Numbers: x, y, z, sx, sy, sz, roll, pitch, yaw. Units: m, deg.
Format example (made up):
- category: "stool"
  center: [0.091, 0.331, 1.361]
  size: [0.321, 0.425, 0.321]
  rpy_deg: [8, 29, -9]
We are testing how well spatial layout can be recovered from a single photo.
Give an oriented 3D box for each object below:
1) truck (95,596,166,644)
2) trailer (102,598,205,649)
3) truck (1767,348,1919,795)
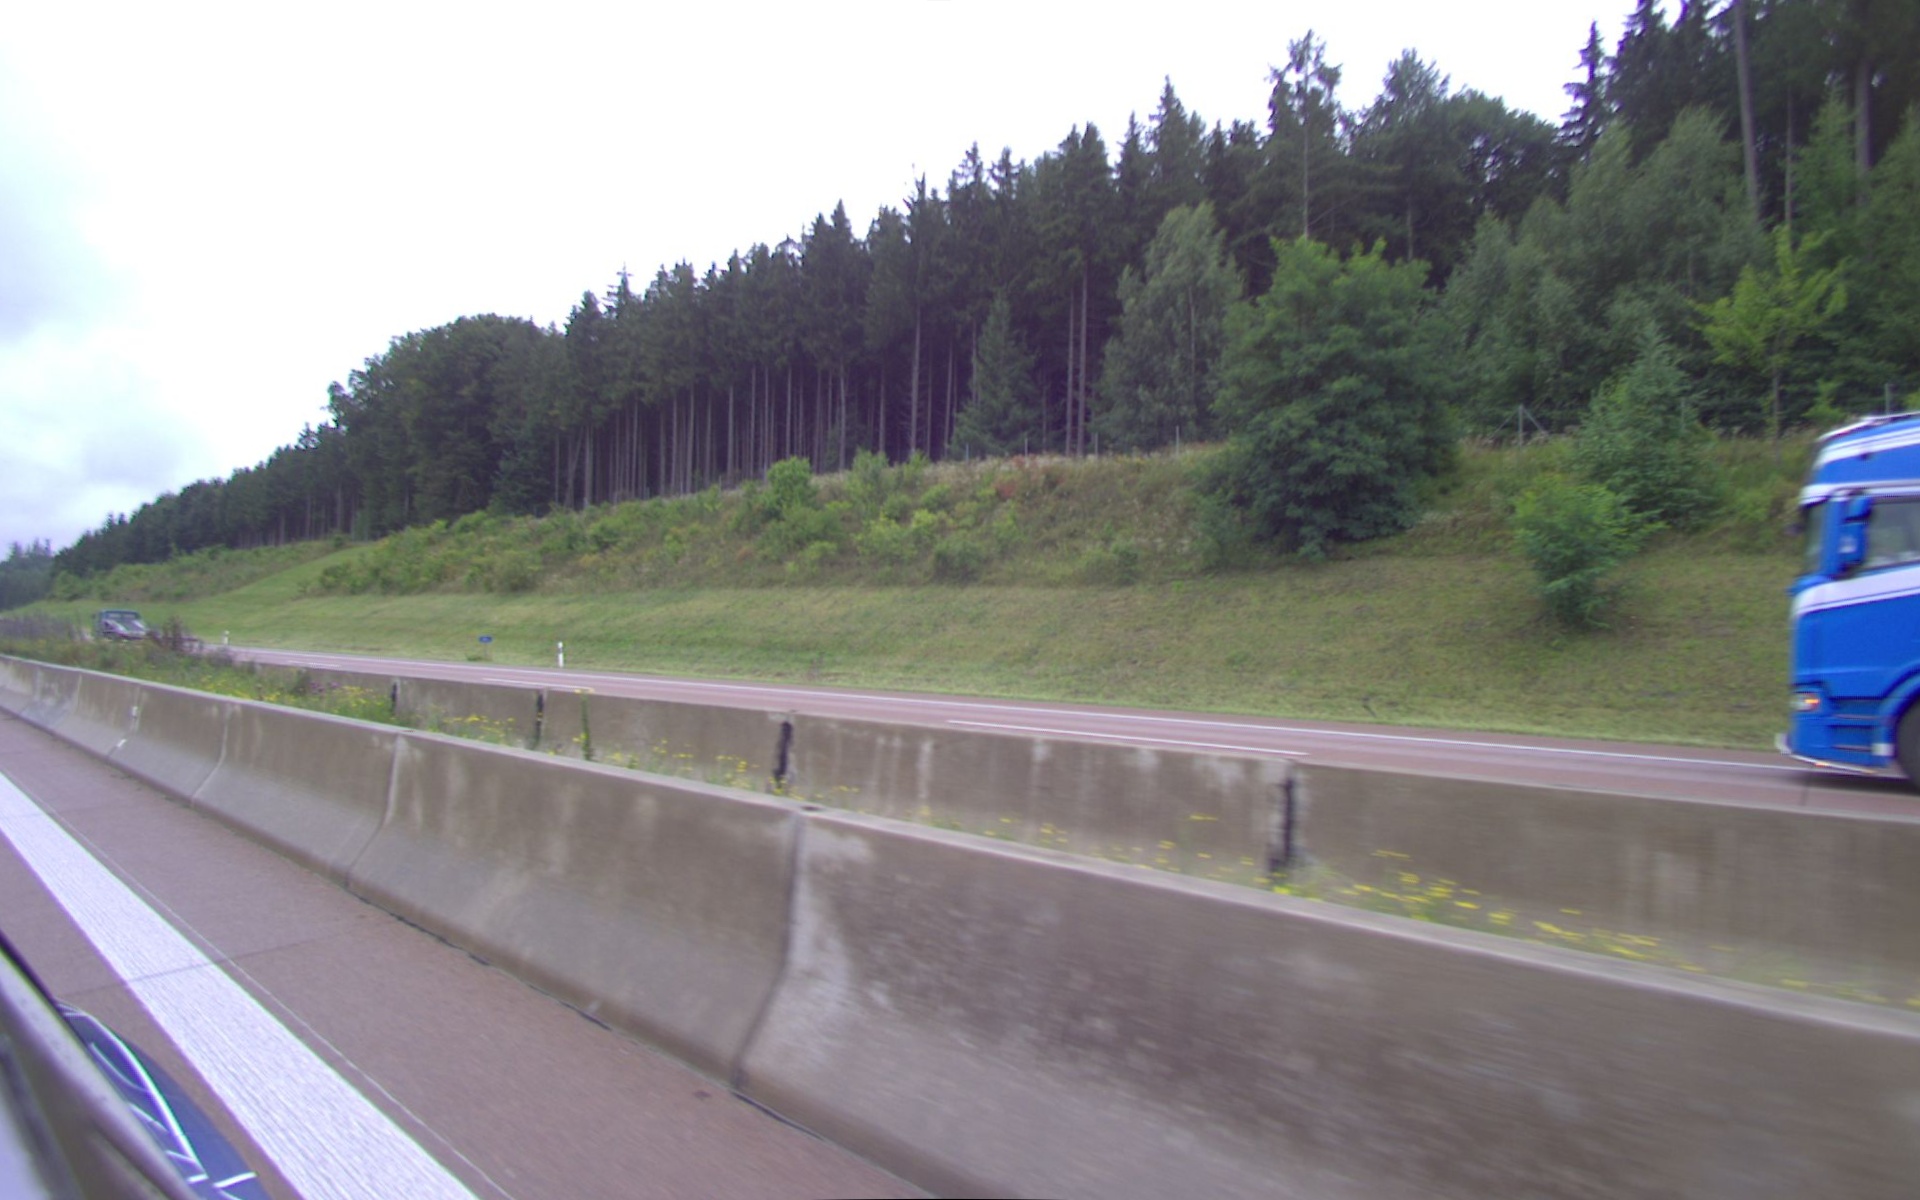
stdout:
- category: "truck"
  center: [-58.907, 1.362, 71.838]
  size: [6.492, 3.196, 2.834]
  rpy_deg: [0, 1, 41]
- category: "trailer"
  center: [-53.963, 1.428, 67.493]
  size: [14.428, 3.020, 2.809]
  rpy_deg: [0, 1, 41]
- category: "truck"
  center: [12.313, -0.279, 9.144]
  size: [7.644, 4.354, 2.933]
  rpy_deg: [-2, -6, 41]
